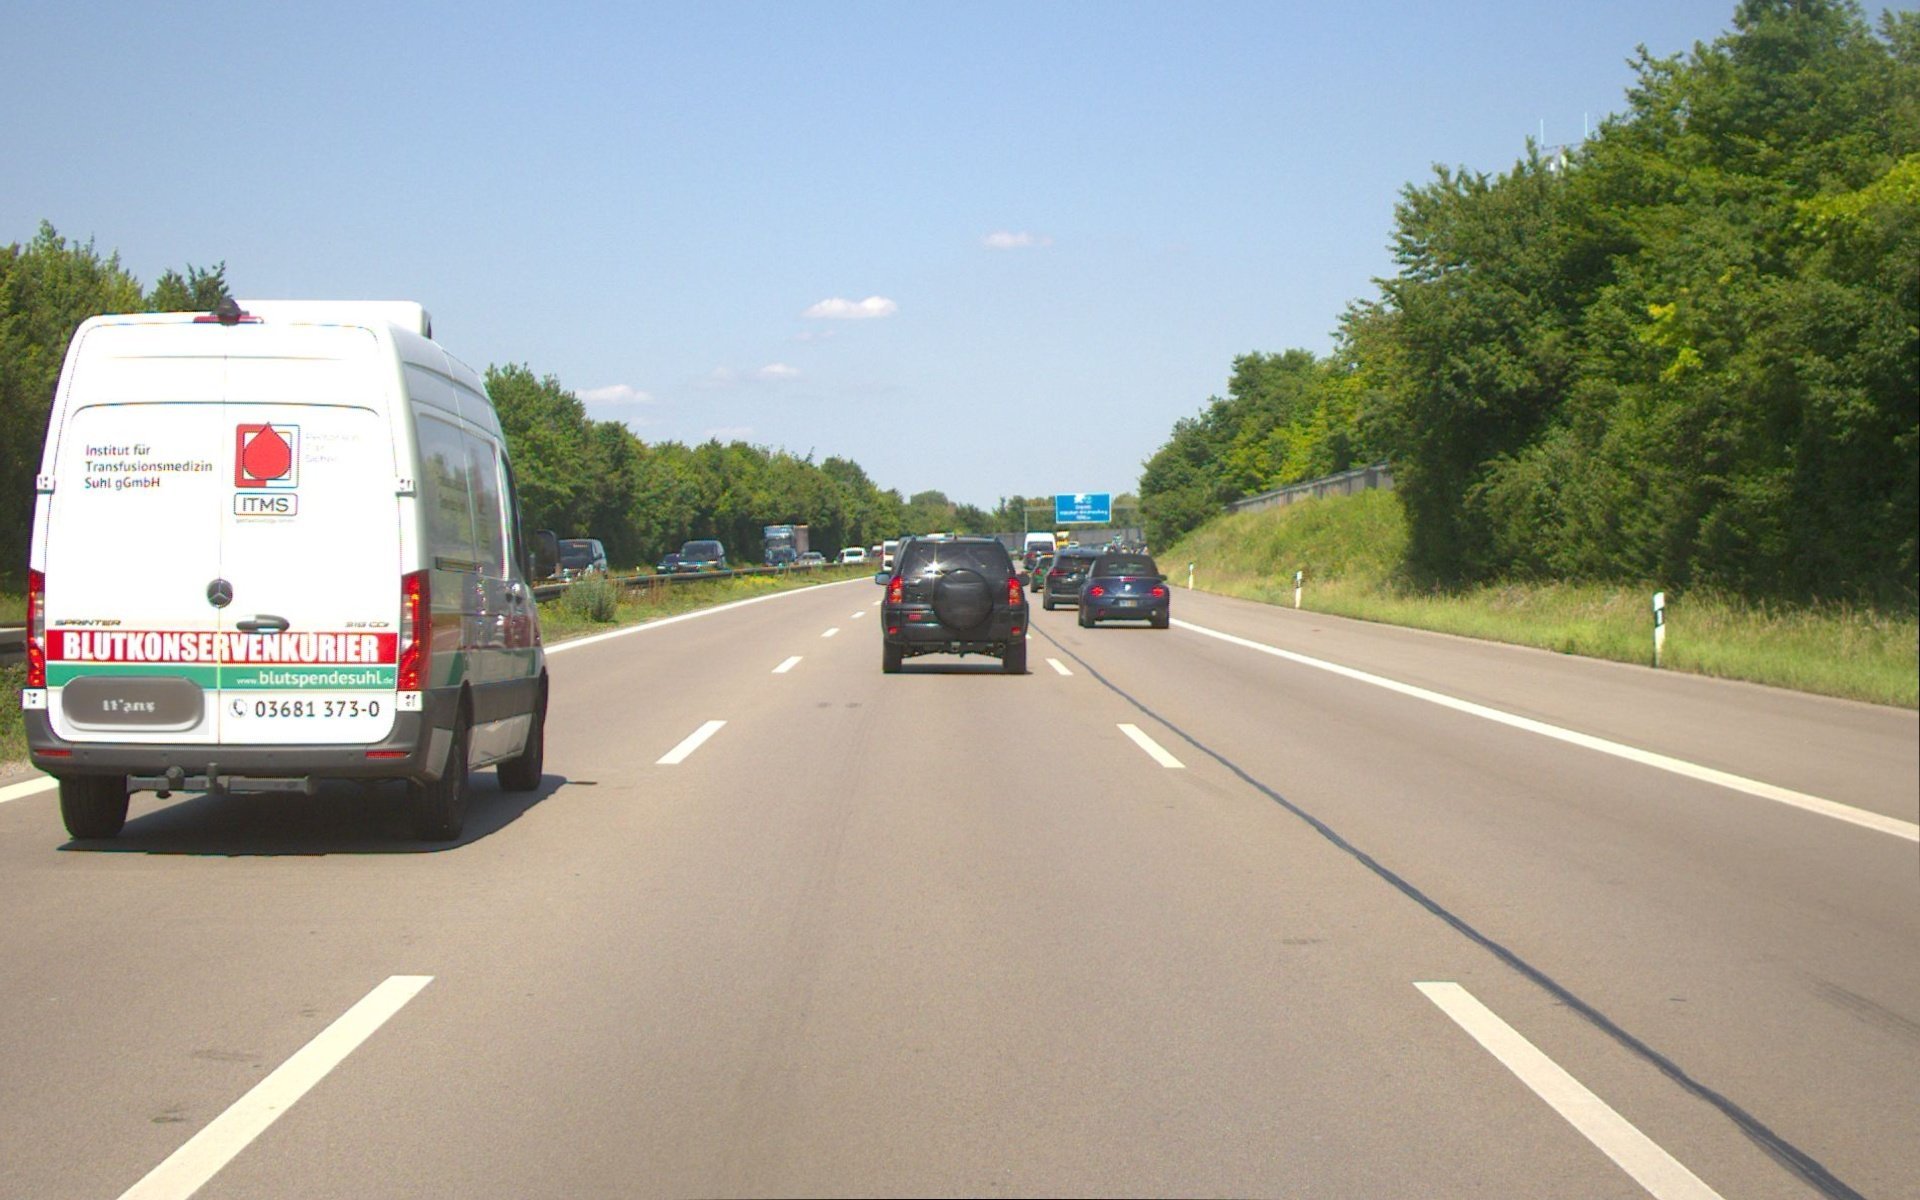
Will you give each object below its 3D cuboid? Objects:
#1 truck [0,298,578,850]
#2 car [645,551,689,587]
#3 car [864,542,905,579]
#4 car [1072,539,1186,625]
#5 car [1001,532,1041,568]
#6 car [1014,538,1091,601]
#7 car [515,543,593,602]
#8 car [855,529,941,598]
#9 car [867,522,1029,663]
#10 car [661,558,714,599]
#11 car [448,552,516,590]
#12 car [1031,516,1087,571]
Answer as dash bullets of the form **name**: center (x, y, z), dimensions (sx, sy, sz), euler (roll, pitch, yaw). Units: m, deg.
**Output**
- **truck**: center (-3.507, -0.184, 19.379), dimensions (1.993, 2.533, 6.692), euler (1, 1, -1)
- **car**: center (-15.470, -1.648, 181.849), dimensions (1.993, 1.848, 4.499), euler (0, 0, -1)
- **car**: center (-4.260, -2.245, 194.972), dimensions (1.993, 2.007, 4.949), euler (-1, 1, 2)
- **car**: center (3.391, -0.358, 69.624), dimensions (1.993, 1.678, 4.000), euler (0, 0, -1)
- **car**: center (3.480, -2.858, 195.768), dimensions (1.993, 2.007, 4.768), euler (-1, 1, -2)
- **car**: center (2.392, -0.790, 89.829), dimensions (1.842, 1.606, 4.000), euler (0, 0, -1)
- **car**: center (-12.840, -0.889, 108.871), dimensions (1.906, 1.782, 5.060), euler (0, 1, -1)
- **car**: center (-1.556, -0.941, 87.677), dimensions (1.993, 1.700, 4.336), euler (-1, 1, 1)
- **car**: center (-0.197, -0.087, 42.613), dimensions (1.906, 1.659, 4.000), euler (0, 0, -2)
- **car**: center (-12.358, -0.973, 156.216), dimensions (1.993, 1.848, 4.499), euler (0, 0, 1)
- **car**: center (-19.399, -1.204, 139.715), dimensions (1.993, 1.475, 4.931), euler (0, 1, 1)
- **car**: center (3.727, -2.111, 129.810), dimensions (1.993, 2.007, 4.000), euler (0, 0, 0)
